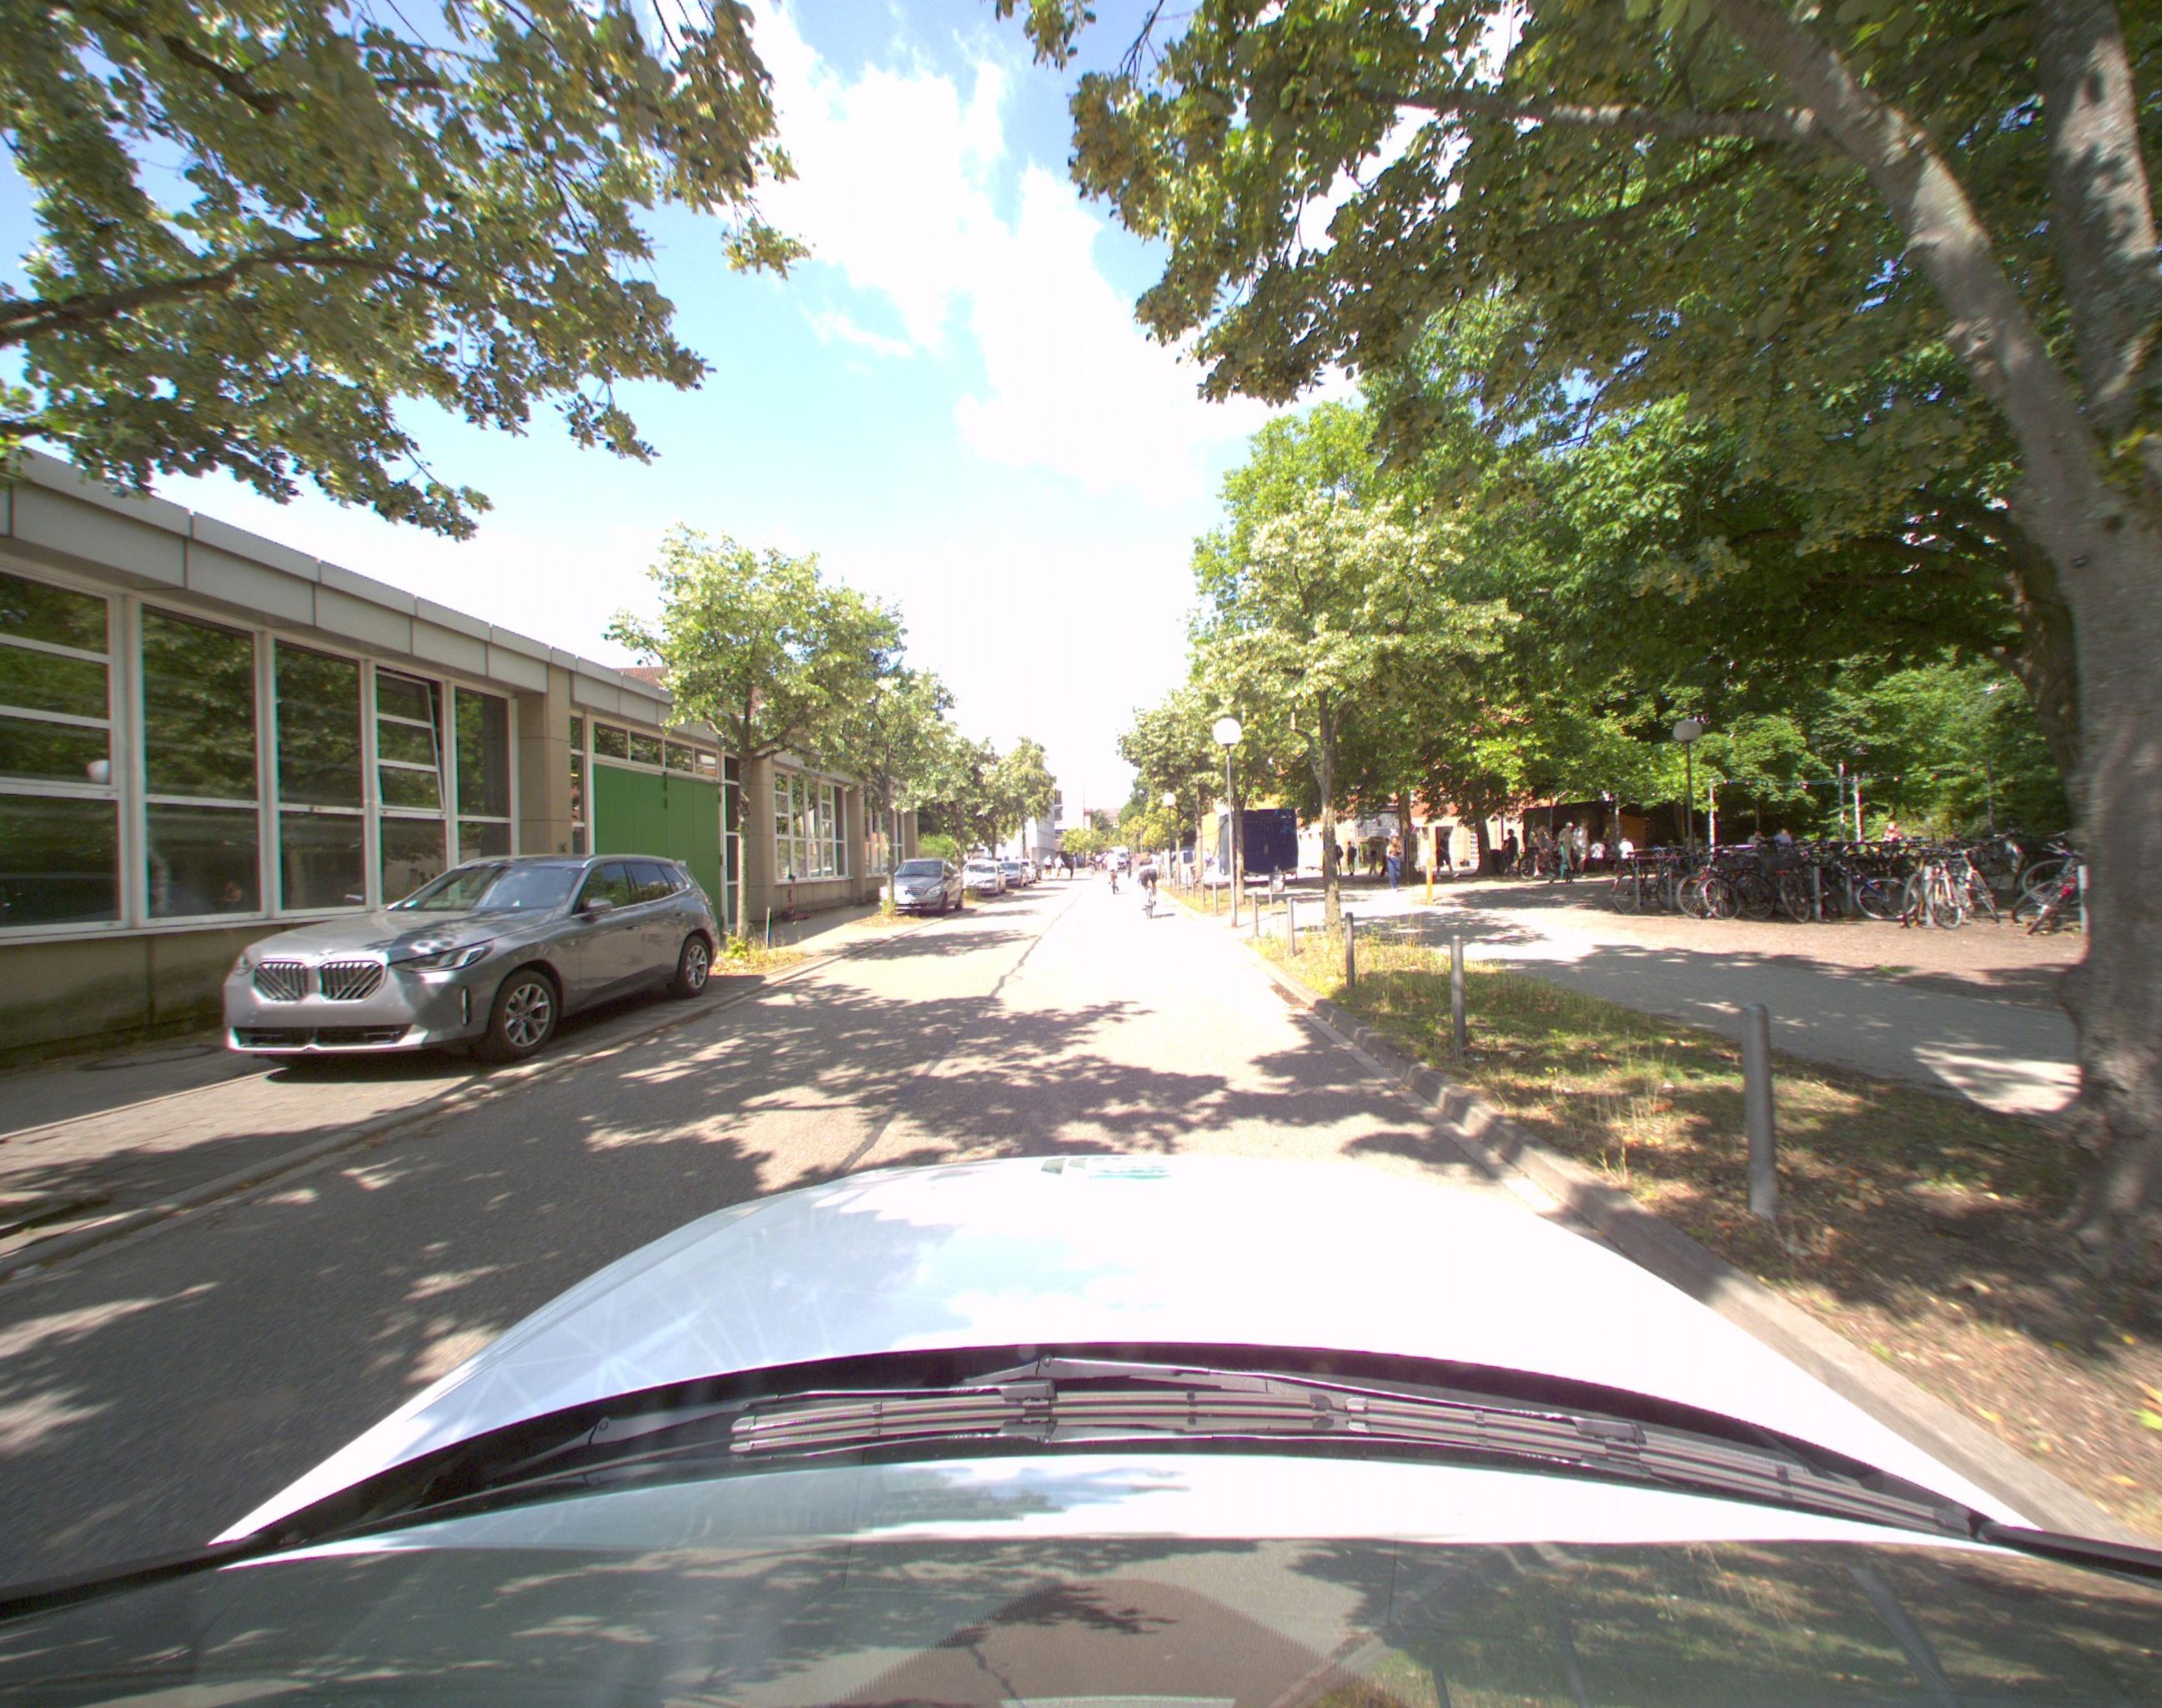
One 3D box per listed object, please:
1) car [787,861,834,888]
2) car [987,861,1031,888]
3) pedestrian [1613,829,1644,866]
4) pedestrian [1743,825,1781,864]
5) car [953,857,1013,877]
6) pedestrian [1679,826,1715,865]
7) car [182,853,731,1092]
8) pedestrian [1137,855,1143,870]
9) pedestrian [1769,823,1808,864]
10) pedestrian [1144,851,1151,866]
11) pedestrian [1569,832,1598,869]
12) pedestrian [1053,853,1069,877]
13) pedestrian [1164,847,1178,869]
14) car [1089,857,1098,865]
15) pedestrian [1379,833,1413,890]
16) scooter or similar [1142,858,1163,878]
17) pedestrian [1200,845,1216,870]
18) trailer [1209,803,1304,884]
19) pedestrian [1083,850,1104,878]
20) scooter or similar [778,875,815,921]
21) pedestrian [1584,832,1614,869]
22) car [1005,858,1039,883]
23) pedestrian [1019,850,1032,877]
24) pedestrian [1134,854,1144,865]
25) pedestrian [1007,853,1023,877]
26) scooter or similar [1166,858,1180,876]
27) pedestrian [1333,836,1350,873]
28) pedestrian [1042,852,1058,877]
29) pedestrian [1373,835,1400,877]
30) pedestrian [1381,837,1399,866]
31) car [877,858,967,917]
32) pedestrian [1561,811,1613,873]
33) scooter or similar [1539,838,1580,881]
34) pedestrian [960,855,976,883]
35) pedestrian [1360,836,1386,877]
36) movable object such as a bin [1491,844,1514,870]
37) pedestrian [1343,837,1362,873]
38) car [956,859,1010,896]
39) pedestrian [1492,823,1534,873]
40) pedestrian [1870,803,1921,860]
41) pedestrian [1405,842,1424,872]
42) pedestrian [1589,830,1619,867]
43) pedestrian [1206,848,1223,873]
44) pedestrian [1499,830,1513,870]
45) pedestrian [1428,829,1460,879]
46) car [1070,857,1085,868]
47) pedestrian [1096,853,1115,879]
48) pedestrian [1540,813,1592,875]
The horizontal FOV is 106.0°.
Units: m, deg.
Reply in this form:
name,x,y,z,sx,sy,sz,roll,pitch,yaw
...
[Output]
name,x,y,z,sx,sy,sz,roll,pitch,yaw
car,-20.775,1.569,62.746,1.920,1.768,4.443,-5,0,2
car,-3.753,1.040,43.290,1.717,1.344,4.169,0,0,4
pedestrian,20.586,-0.236,30.610,0.568,1.346,0.728,-5,0,-2
pedestrian,23.229,-0.333,27.790,0.665,1.271,0.622,-5,0,-3
car,-7.968,1.065,66.463,4.484,1.619,1.926,1,-1,4
pedestrian,22.284,-0.320,29.456,0.665,1.346,0.718,-5,0,-2
car,-5.255,0.829,7.862,1.816,1.632,4.516,0,0,0
pedestrian,7.828,1.132,108.194,0.786,1.860,1.027,-2,0,3
pedestrian,23.373,-0.338,26.900,0.665,1.271,0.622,-5,0,-3
pedestrian,8.710,0.567,106.685,0.786,1.860,1.027,-3,0,3
pedestrian,19.391,-0.137,31.429,0.568,1.346,0.728,-5,0,-2
pedestrian,-1.479,0.812,58.866,0.897,1.739,0.683,-1,0,40
pedestrian,7.006,0.298,63.302,0.952,1.694,0.707,1,2,12
car,2.857,1.601,187.433,1.786,1.530,4.007,-2,0,6
pedestrian,8.998,0.207,23.306,0.566,1.571,0.928,-3,-1,2
scooter or similar,4.898,0.952,55.690,1.248,1.265,0.655,-3,-1,34
pedestrian,9.914,0.266,63.560,0.712,1.787,0.746,-9,4,-28
trailer,7.373,-0.395,35.047,2.682,3.051,6.258,-3,0,1
pedestrian,0.863,0.693,55.511,0.859,1.859,1.102,-3,1,-44
scooter or similar,-7.527,1.151,21.612,0.503,1.169,1.216,-1,0,2
pedestrian,19.432,-0.131,30.561,0.568,1.346,0.728,-5,0,-2
car,-3.549,0.995,49.429,1.656,1.412,3.809,-1,0,2
pedestrian,-4.196,0.732,61.534,0.620,1.980,0.821,-2,-2,-29
pedestrian,10.719,1.025,149.943,1.495,1.996,1.646,-5,0,0
pedestrian,-4.982,0.805,61.374,0.794,1.772,0.859,2,1,27
scooter or similar,6.190,0.901,54.925,0.643,1.160,1.270,-3,0,17
pedestrian,13.048,0.021,40.814,0.593,1.796,0.406,-4,1,-2
pedestrian,-2.230,0.748,58.257,0.971,1.739,0.705,-1,-1,40
pedestrian,12.703,0.082,33.886,0.762,1.661,0.824,-3,-1,2
pedestrian,17.535,-0.144,46.244,0.657,1.607,0.678,-3,-1,-13
car,-4.447,0.892,23.404,1.751,1.556,4.113,0,-1,0
pedestrian,16.544,-0.384,26.648,0.835,1.949,1.072,-4,0,-18
scooter or similar,13.877,0.161,23.642,0.422,1.219,1.295,-2,-1,3
pedestrian,-6.887,0.907,49.869,0.704,1.716,1.110,1,0,6
pedestrian,12.078,0.098,33.703,0.694,1.661,0.788,-3,-1,2
movable object such as a bin,18.229,0.134,35.215,0.596,1.071,0.743,-2,-2,3
pedestrian,13.741,0.034,41.201,0.593,1.796,0.727,-4,1,-1
car,-4.102,0.956,34.699,1.719,1.456,4.583,0,0,0
pedestrian,16.105,-0.229,30.381,0.957,1.775,0.918,-2,0,-6
pedestrian,23.943,-0.654,23.950,0.665,1.581,0.718,-5,0,-2
pedestrian,18.780,0.173,45.822,0.657,1.607,0.678,-3,-1,-13
pedestrian,20.198,-0.209,31.462,0.568,1.346,0.728,-5,0,-2
pedestrian,8.943,0.428,54.681,0.872,1.637,0.949,-6,0,2
pedestrian,20.622,-0.195,39.547,0.444,1.883,0.531,-2,0,12
pedestrian,13.879,0.004,31.136,0.762,1.855,0.824,-3,-1,2
car,-0.488,1.228,121.008,1.786,1.530,4.007,-2,0,6
pedestrian,1.610,0.783,53.211,0.855,1.595,0.820,-3,0,-41
pedestrian,15.675,-0.313,26.348,0.835,1.949,1.072,-4,0,-18
